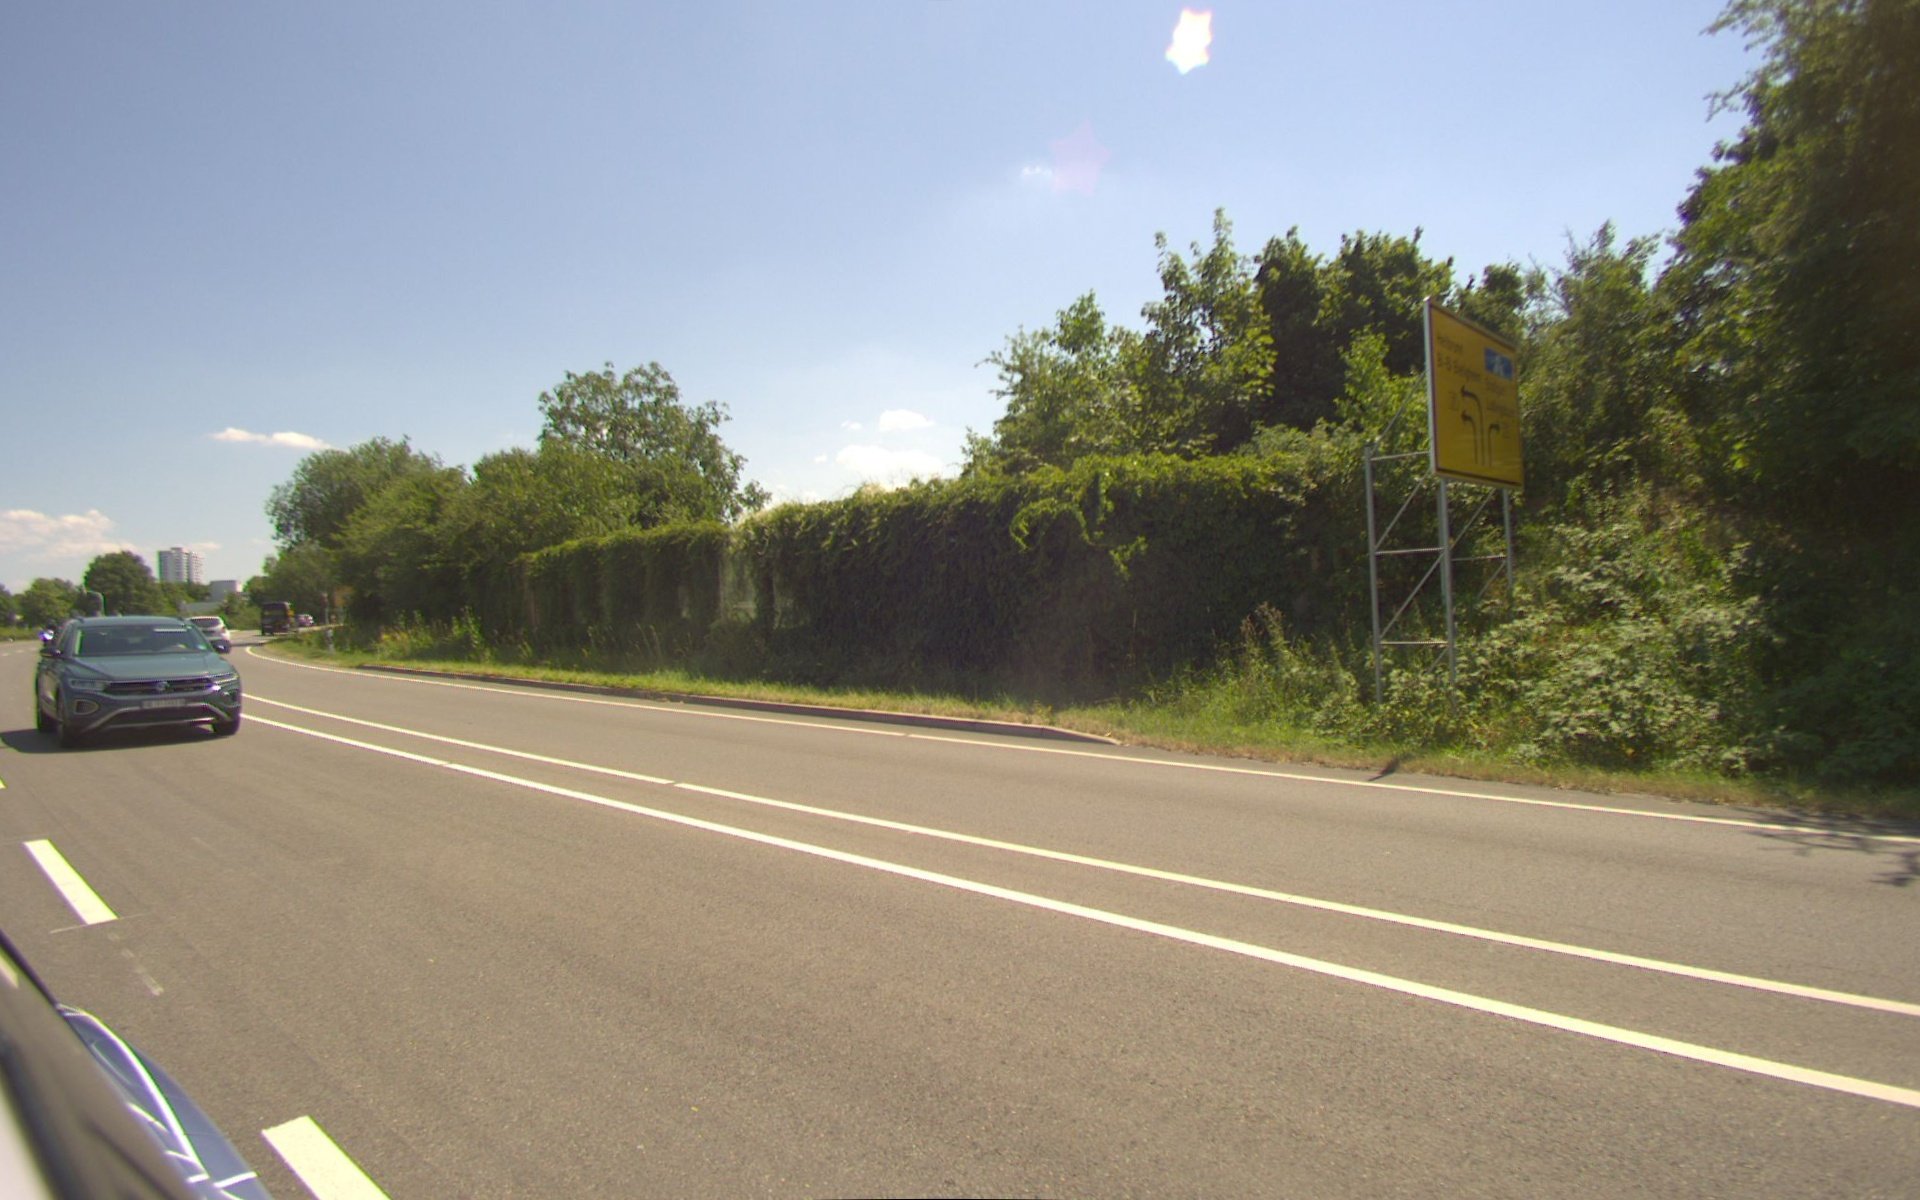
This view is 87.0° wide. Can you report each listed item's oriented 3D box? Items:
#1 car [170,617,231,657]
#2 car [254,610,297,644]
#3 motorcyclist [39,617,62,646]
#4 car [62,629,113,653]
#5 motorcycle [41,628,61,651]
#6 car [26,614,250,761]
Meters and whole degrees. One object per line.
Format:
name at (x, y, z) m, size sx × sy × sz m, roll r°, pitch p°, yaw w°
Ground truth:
car at (-33.234, 1.610, 44.220) m, size 1.968 × 1.641 × 4.204 m, roll 0°, pitch -1°, yaw -39°
car at (-55.592, 2.138, 82.317) m, size 2.157 × 2.560 × 6.056 m, roll -2°, pitch 0°, yaw -27°
motorcyclist at (-46.550, 1.607, 51.814) m, size 0.848 × 1.500 × 1.163 m, roll 1°, pitch -3°, yaw -43°
car at (-63.236, 2.969, 73.423) m, size 2.083 × 1.603 × 4.463 m, roll -1°, pitch 0°, yaw -32°
motorcycle at (-46.482, 2.020, 51.731) m, size 0.723 × 1.147 × 2.074 m, roll 1°, pitch -3°, yaw -43°
car at (-11.036, 1.034, 13.466) m, size 4.392 × 1.598 × 1.814 m, roll -2°, pitch -1°, yaw 44°
